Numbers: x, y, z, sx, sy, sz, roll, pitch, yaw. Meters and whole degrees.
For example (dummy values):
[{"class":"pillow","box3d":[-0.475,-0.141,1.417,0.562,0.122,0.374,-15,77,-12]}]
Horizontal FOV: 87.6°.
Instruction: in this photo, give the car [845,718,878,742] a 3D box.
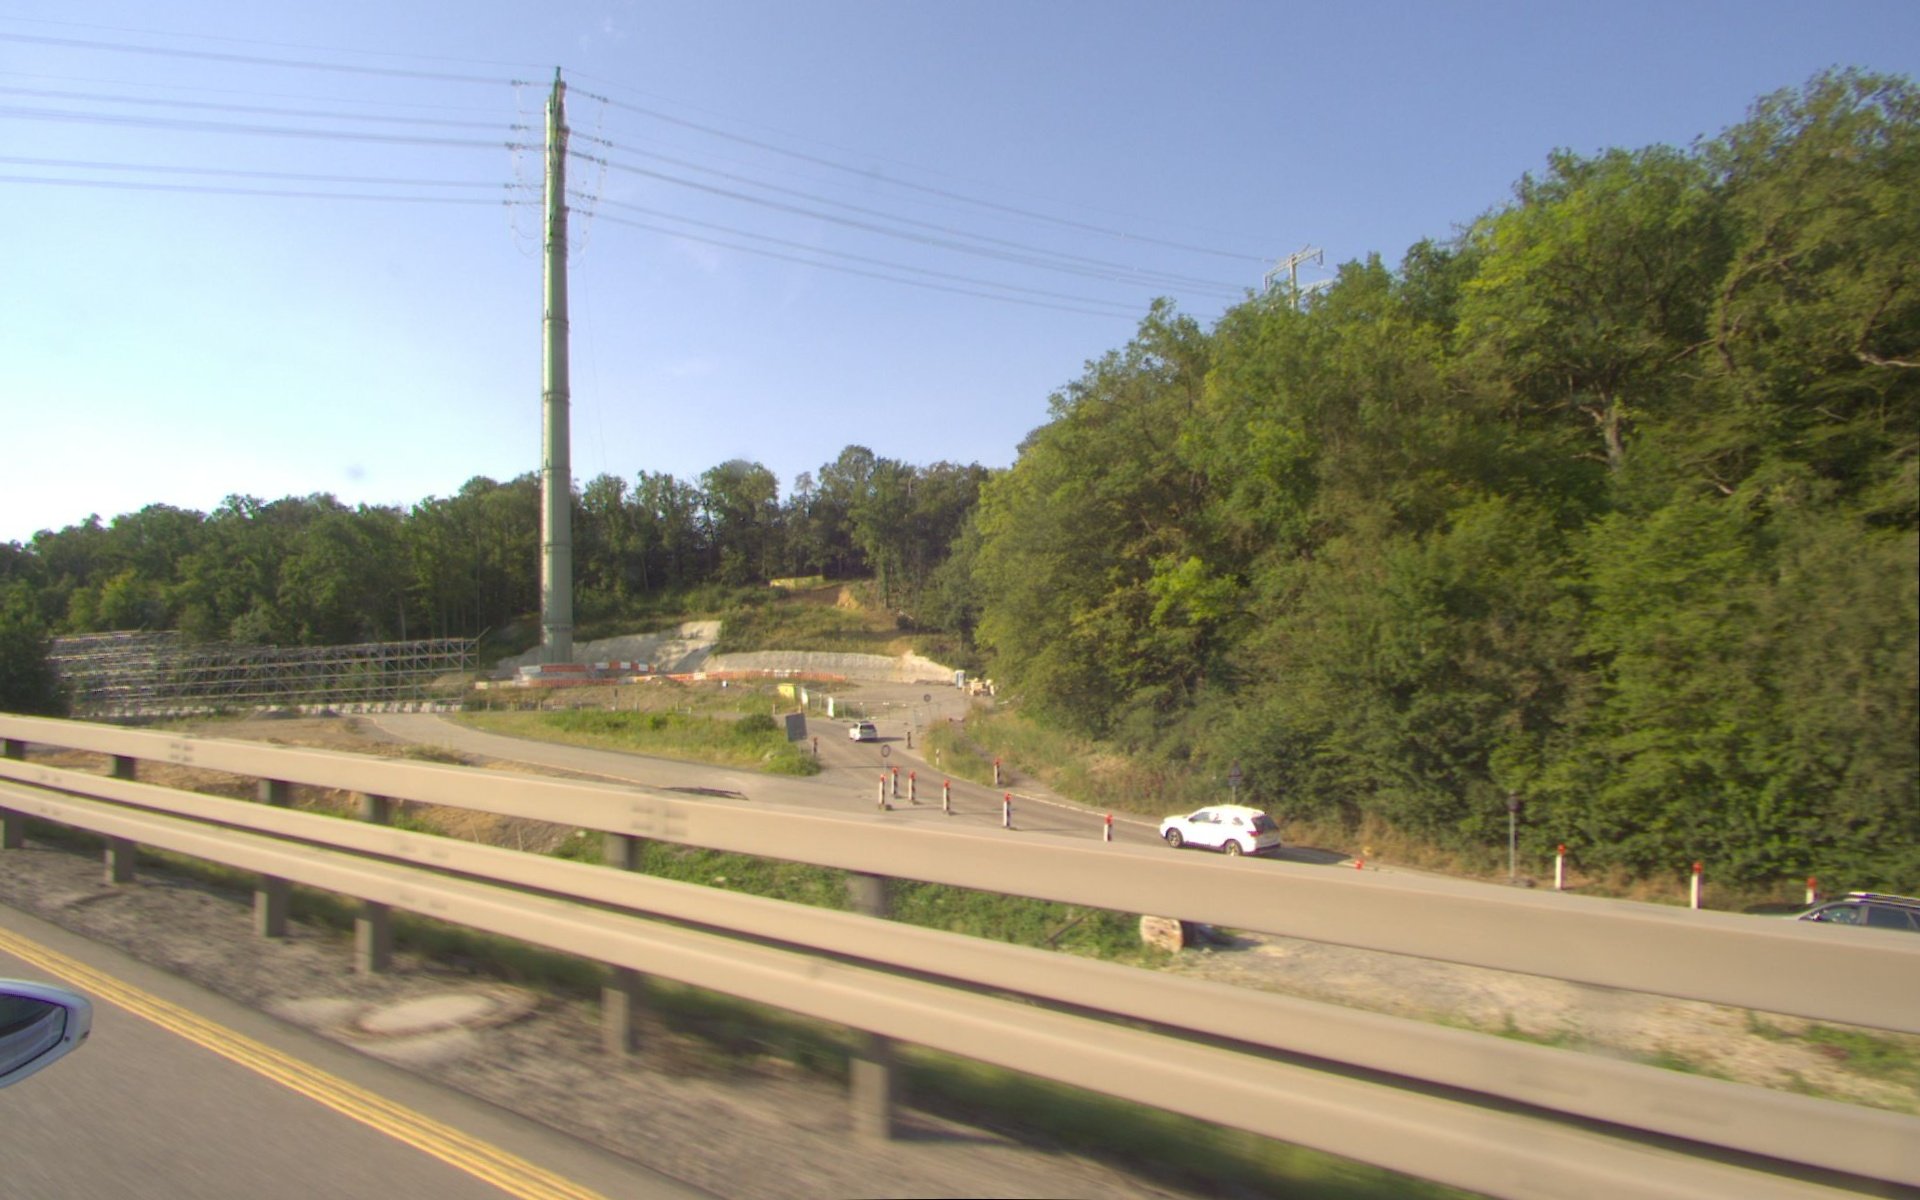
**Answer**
[{"class":"car","box3d":[-7.690,10.094,77.956,1.505,1.479,4.258,-1,-2,-21]}]

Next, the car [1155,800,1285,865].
[{"class":"car","box3d":[9.479,8.456,36.766,4.426,1.681,1.659,-4,-6,44]}]

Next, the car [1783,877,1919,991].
[{"class":"car","box3d":[22.014,7.844,23.080,1.849,1.807,4.460,1,-2,-41]}]
